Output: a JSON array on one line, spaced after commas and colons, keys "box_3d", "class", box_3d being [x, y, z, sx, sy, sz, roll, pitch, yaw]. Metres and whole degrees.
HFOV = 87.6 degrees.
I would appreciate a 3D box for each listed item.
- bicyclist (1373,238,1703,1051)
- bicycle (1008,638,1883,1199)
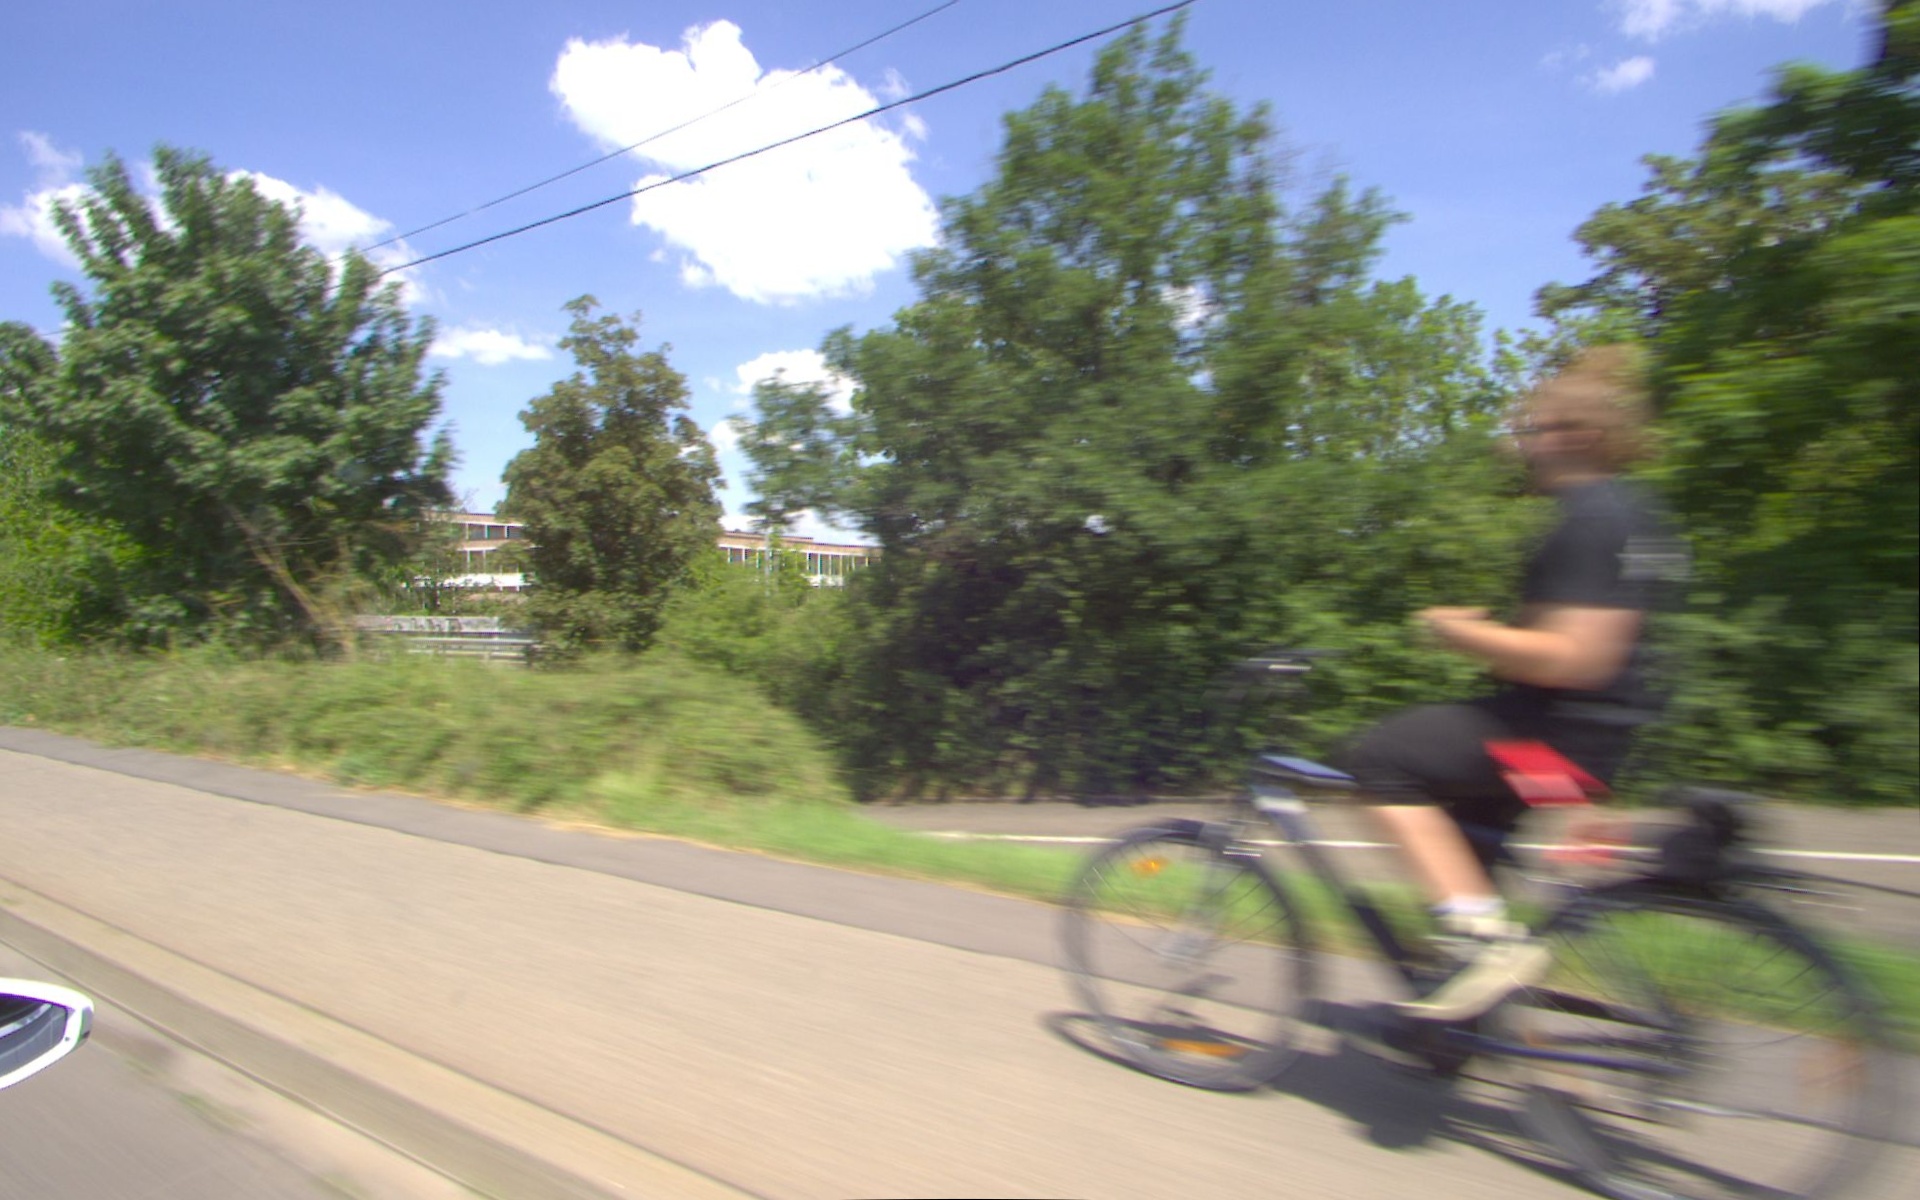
[{"box_3d": [1.318, 0.088, 2.267, 0.550, 1.514, 0.583, 2, 0, 37], "class": "bicyclist"}, {"box_3d": [1.007, 0.712, 2.491, 1.831, 1.167, 0.431, 1, 0, 37], "class": "bicycle"}]
